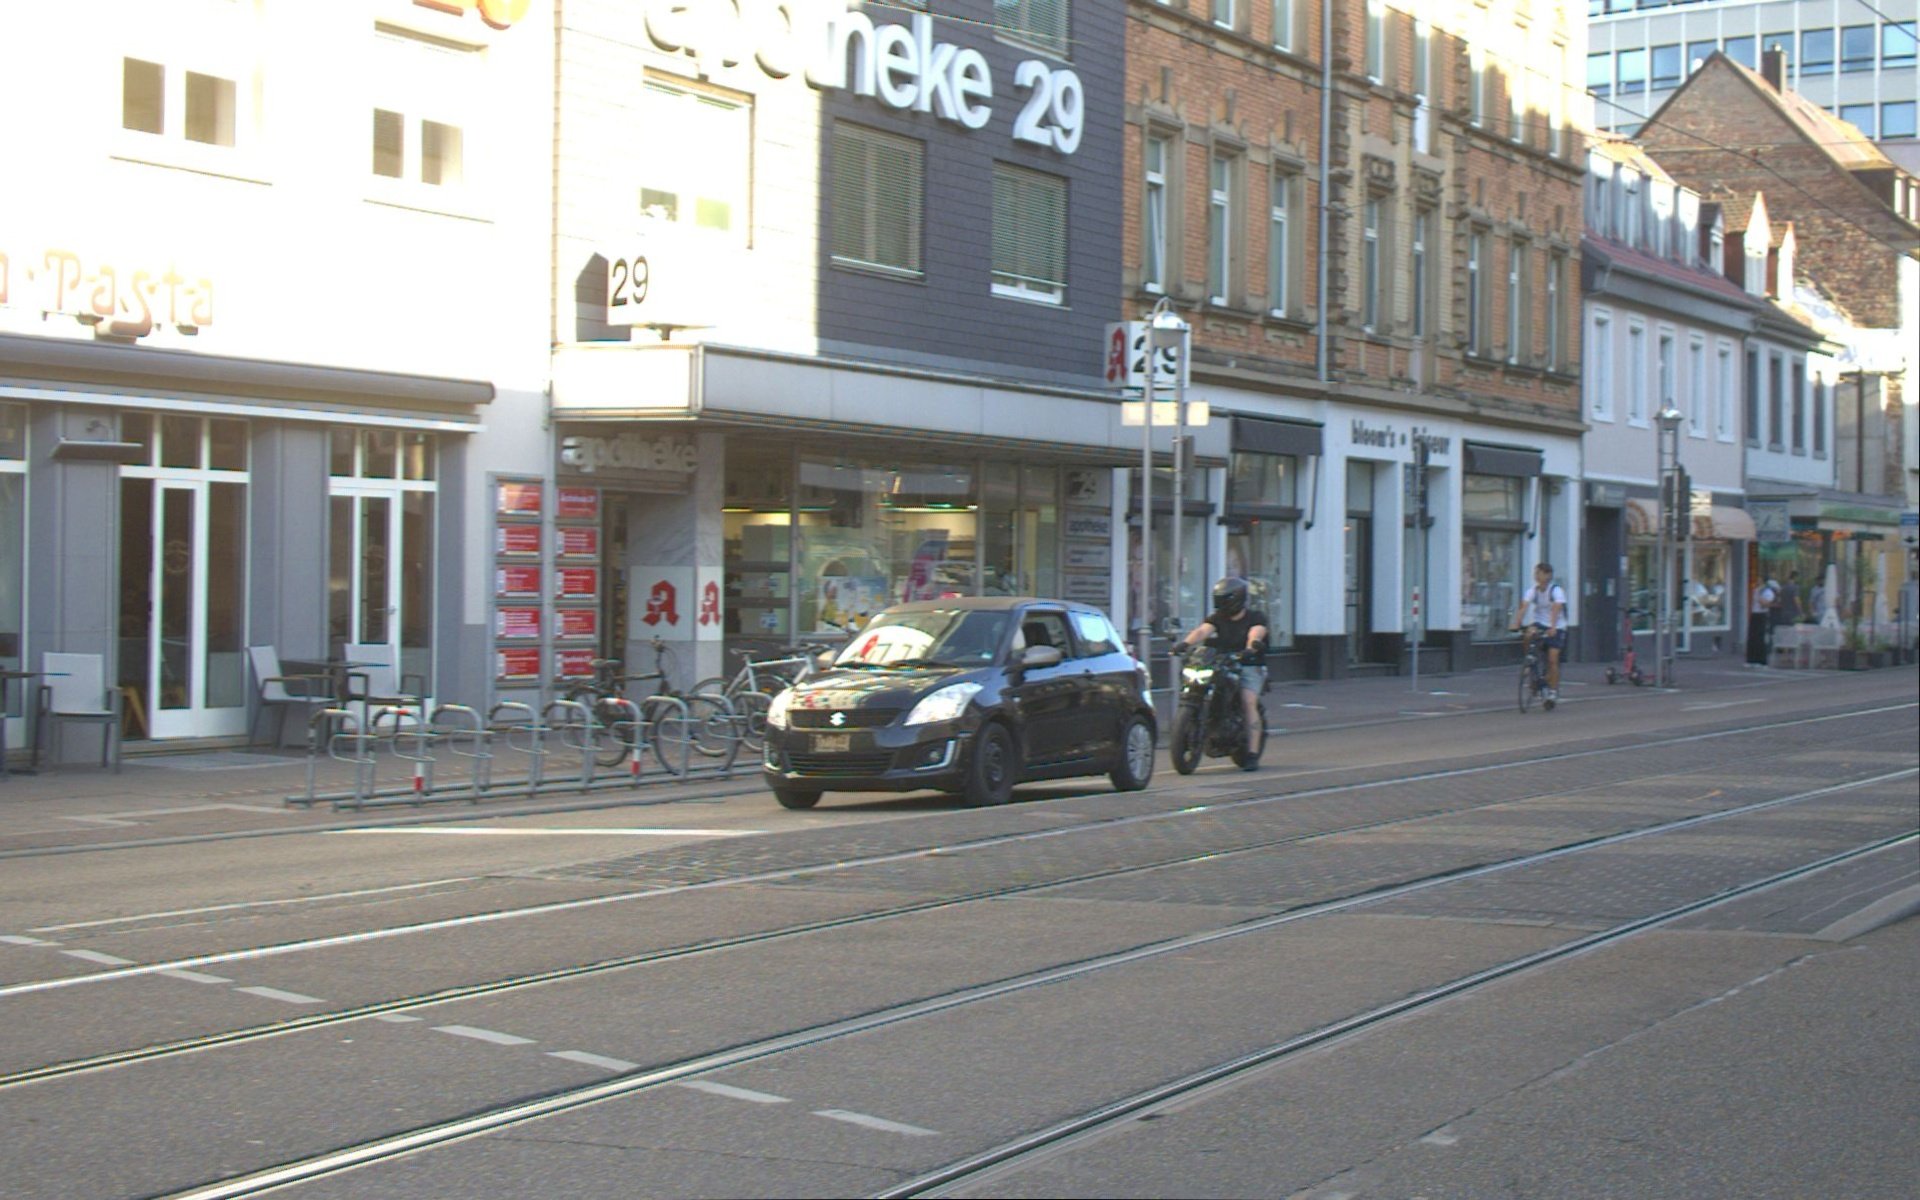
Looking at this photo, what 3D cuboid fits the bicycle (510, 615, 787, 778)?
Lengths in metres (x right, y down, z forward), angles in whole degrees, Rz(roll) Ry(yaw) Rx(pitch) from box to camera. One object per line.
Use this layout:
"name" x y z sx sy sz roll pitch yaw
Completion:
"bicycle" -2.567 0.781 28.319 2.105 1.219 0.773 2 1 22

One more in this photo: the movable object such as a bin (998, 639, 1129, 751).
"movable object such as a bin" 1.061 0.962 35.112 1.101 1.068 0.734 2 1 27

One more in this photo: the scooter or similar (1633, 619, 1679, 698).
"scooter or similar" 10.987 0.914 54.224 0.364 1.197 1.475 3 1 23

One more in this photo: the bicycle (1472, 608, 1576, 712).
"bicycle" 7.200 0.755 43.810 0.751 1.289 2.022 0 -1 26

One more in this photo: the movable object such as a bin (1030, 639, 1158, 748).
"movable object such as a bin" 1.393 0.965 35.757 1.101 1.060 0.698 2 1 27

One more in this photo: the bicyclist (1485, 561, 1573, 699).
"bicyclist" 7.241 0.373 43.734 0.751 1.723 1.144 1 0 27

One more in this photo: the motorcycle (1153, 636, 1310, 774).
"motorcycle" 2.320 0.867 29.179 0.570 1.116 2.114 0 0 27

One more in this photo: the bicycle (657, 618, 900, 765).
"bicycle" -1.591 0.783 30.083 1.937 1.168 0.773 3 1 22

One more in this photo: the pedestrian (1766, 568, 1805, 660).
"pedestrian" 16.650 0.278 69.315 0.657 1.817 0.642 1 0 21

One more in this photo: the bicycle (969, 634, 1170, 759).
"bicycle" 1.093 0.957 34.439 1.937 1.186 0.551 1 0 23

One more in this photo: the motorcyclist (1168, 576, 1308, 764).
"motorcyclist" 2.361 0.579 29.120 0.804 1.553 1.144 0 0 27

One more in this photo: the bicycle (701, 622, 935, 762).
"bicycle" -1.272 0.811 30.808 1.936 1.188 0.773 1 0 22

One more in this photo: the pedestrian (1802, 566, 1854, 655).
"pedestrian" 17.595 0.212 69.648 0.887 1.769 0.687 1 0 25

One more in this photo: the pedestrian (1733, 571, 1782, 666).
"pedestrian" 15.131 0.349 65.210 0.615 1.769 0.717 1 0 40

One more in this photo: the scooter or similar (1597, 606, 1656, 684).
"scooter or similar" 10.557 0.703 54.436 0.580 1.197 1.475 3 1 23

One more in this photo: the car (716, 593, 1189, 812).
"car" 0.045 0.694 24.956 1.716 1.441 4.132 -1 0 27
